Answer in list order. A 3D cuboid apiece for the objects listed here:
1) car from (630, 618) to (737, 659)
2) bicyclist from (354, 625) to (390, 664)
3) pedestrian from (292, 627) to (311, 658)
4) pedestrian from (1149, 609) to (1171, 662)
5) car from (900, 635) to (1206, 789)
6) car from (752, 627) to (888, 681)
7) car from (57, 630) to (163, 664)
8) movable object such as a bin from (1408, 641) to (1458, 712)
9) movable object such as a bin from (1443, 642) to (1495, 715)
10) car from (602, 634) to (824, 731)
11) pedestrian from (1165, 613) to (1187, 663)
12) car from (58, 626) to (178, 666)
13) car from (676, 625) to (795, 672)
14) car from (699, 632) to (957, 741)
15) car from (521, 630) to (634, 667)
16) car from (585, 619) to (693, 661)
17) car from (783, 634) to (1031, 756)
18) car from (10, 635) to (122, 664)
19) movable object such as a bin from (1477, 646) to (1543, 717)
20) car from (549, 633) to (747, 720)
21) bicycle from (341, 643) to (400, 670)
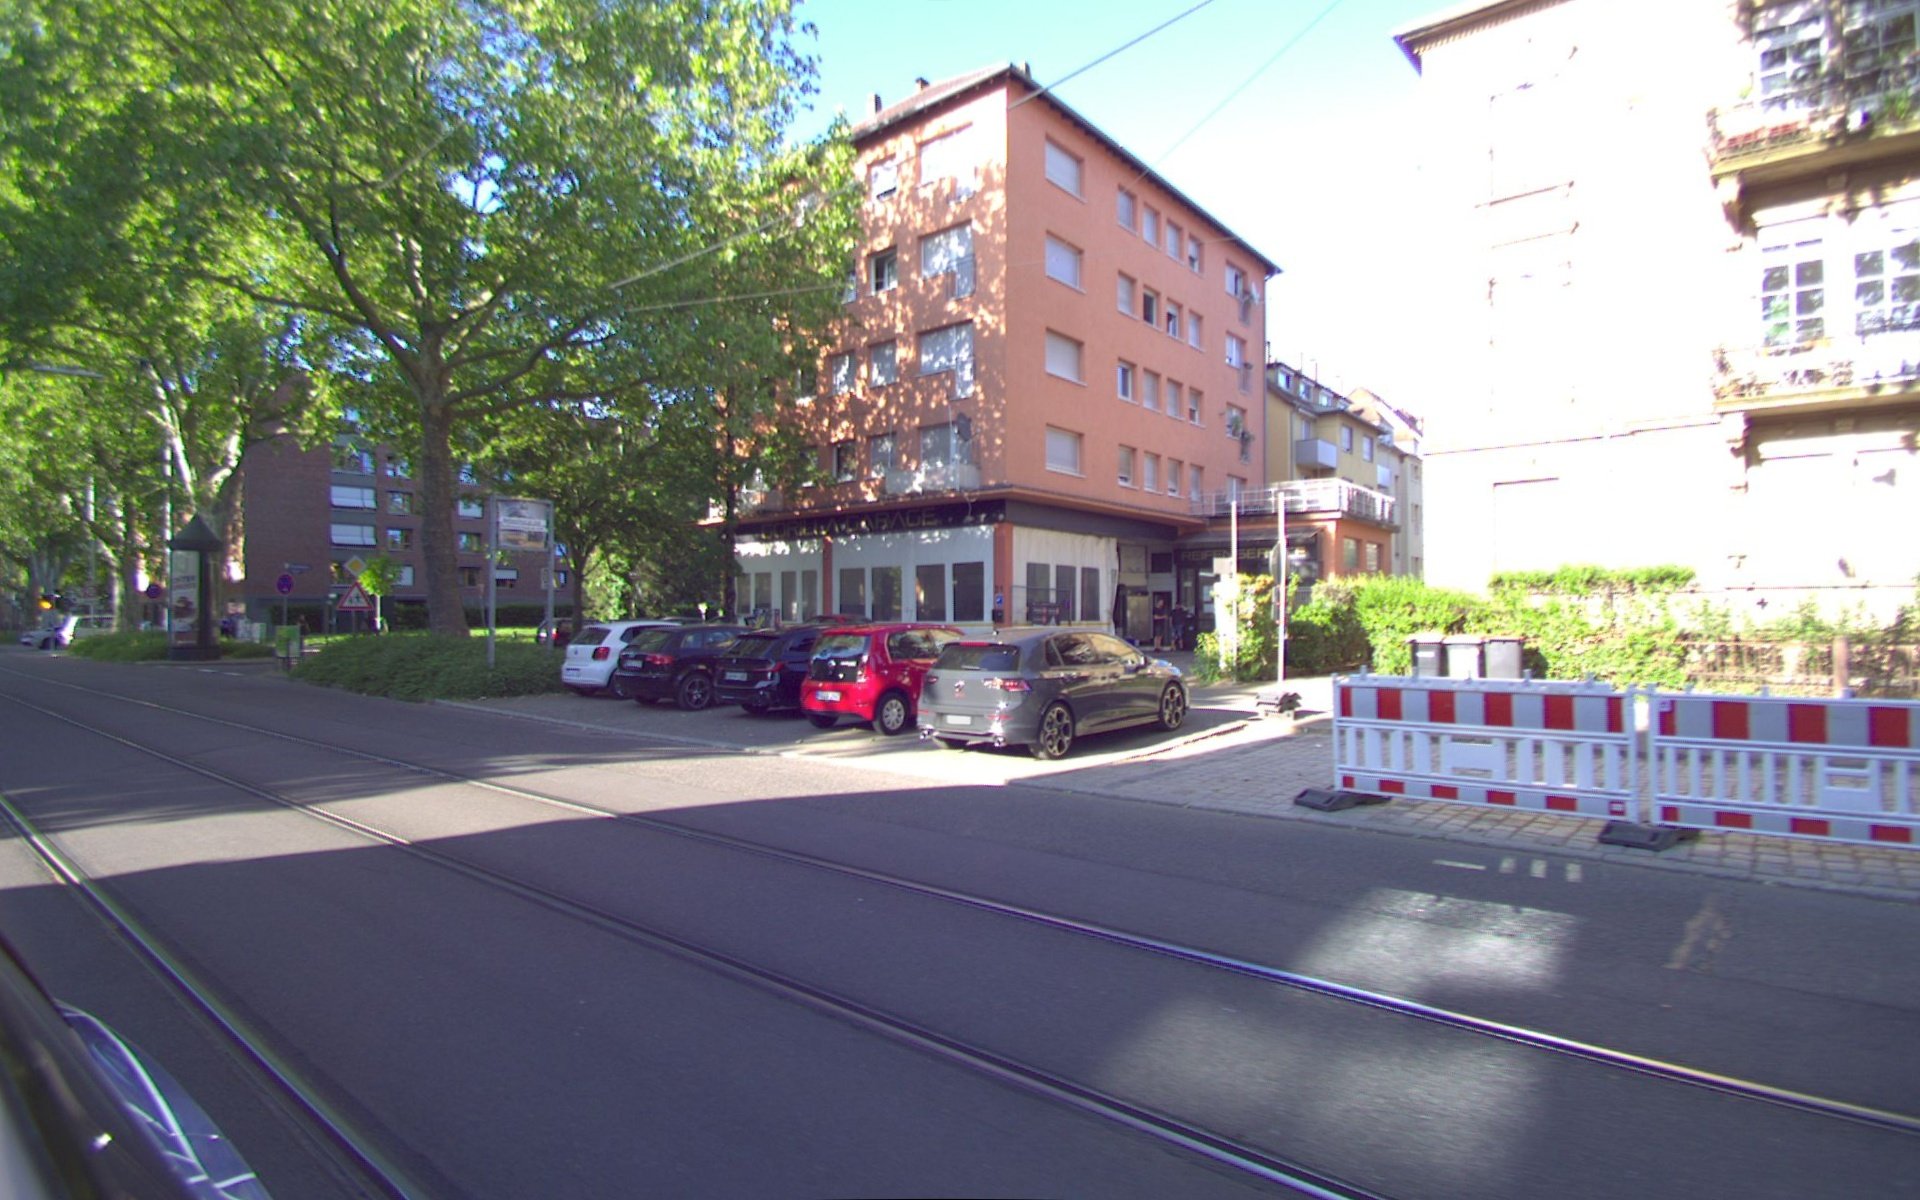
[{"bbox_3d":[-11.170,1.525,40.839,3.984,1.537,1.980,-1,-1,30],"label":"car"},{"bbox_3d":[-23.408,1.769,40.263,1.113,1.518,0.794,-1,-1,31],"label":"bicyclist"},{"bbox_3d":[-35.760,2.306,54.949,0.779,1.686,0.702,-2,-1,41],"label":"pedestrian"},{"bbox_3d":[6.809,1.200,34.511,0.520,1.791,0.534,-2,-1,41],"label":"pedestrian"},{"bbox_3d":[1.288,1.233,12.600,1.853,1.476,3.946,-1,-1,41],"label":"car"},{"bbox_3d":[-4.264,1.576,30.534,3.999,1.498,1.927,-1,-1,42],"label":"car"},{"bbox_3d":[-45.816,2.519,54.599,1.901,1.659,4.098,-1,-1,40],"label":"car"},{"bbox_3d":[7.833,1.245,16.754,0.543,1.118,0.716,-2,-1,42],"label":"movable object such as a bin"},{"bbox_3d":[8.244,1.246,16.377,0.560,1.118,0.715,-2,-1,43],"label":"movable object such as a bin"},{"bbox_3d":[-4.373,1.395,18.266,1.687,1.476,3.562,-2,-1,43],"label":"car"},{"bbox_3d":[7.438,1.300,34.796,0.549,1.673,0.498,-2,-1,41],"label":"pedestrian"},{"bbox_3d":[-43.574,2.343,52.426,1.937,1.848,4.525,-1,-1,39],"label":"car"},{"bbox_3d":[-7.426,1.558,33.371,3.891,1.418,1.927,-1,-1,42],"label":"car"},{"bbox_3d":[-2.100,1.336,16.878,1.821,1.476,4.038,-2,-1,43],"label":"car"},{"bbox_3d":[-17.122,2.135,45.440,1.856,1.500,4.487,-1,-1,35],"label":"car"},{"bbox_3d":[-12.334,1.507,38.822,3.986,1.504,1.799,-1,-1,31],"label":"car"},{"bbox_3d":[-0.710,1.289,14.941,1.759,1.476,3.382,-2,-1,43],"label":"car"},{"bbox_3d":[-52.240,2.866,59.215,1.953,1.471,4.716,-1,-1,39],"label":"car"},{"bbox_3d":[8.501,1.244,15.649,0.736,1.030,0.714,-2,-1,43],"label":"movable object such as a bin"},{"bbox_3d":[-6.135,1.439,20.106,1.697,1.476,3.382,-2,-1,43],"label":"car"},{"bbox_3d":[-23.488,2.248,40.310,2.574,1.006,0.961,-1,-1,31],"label":"bicycle"}]
